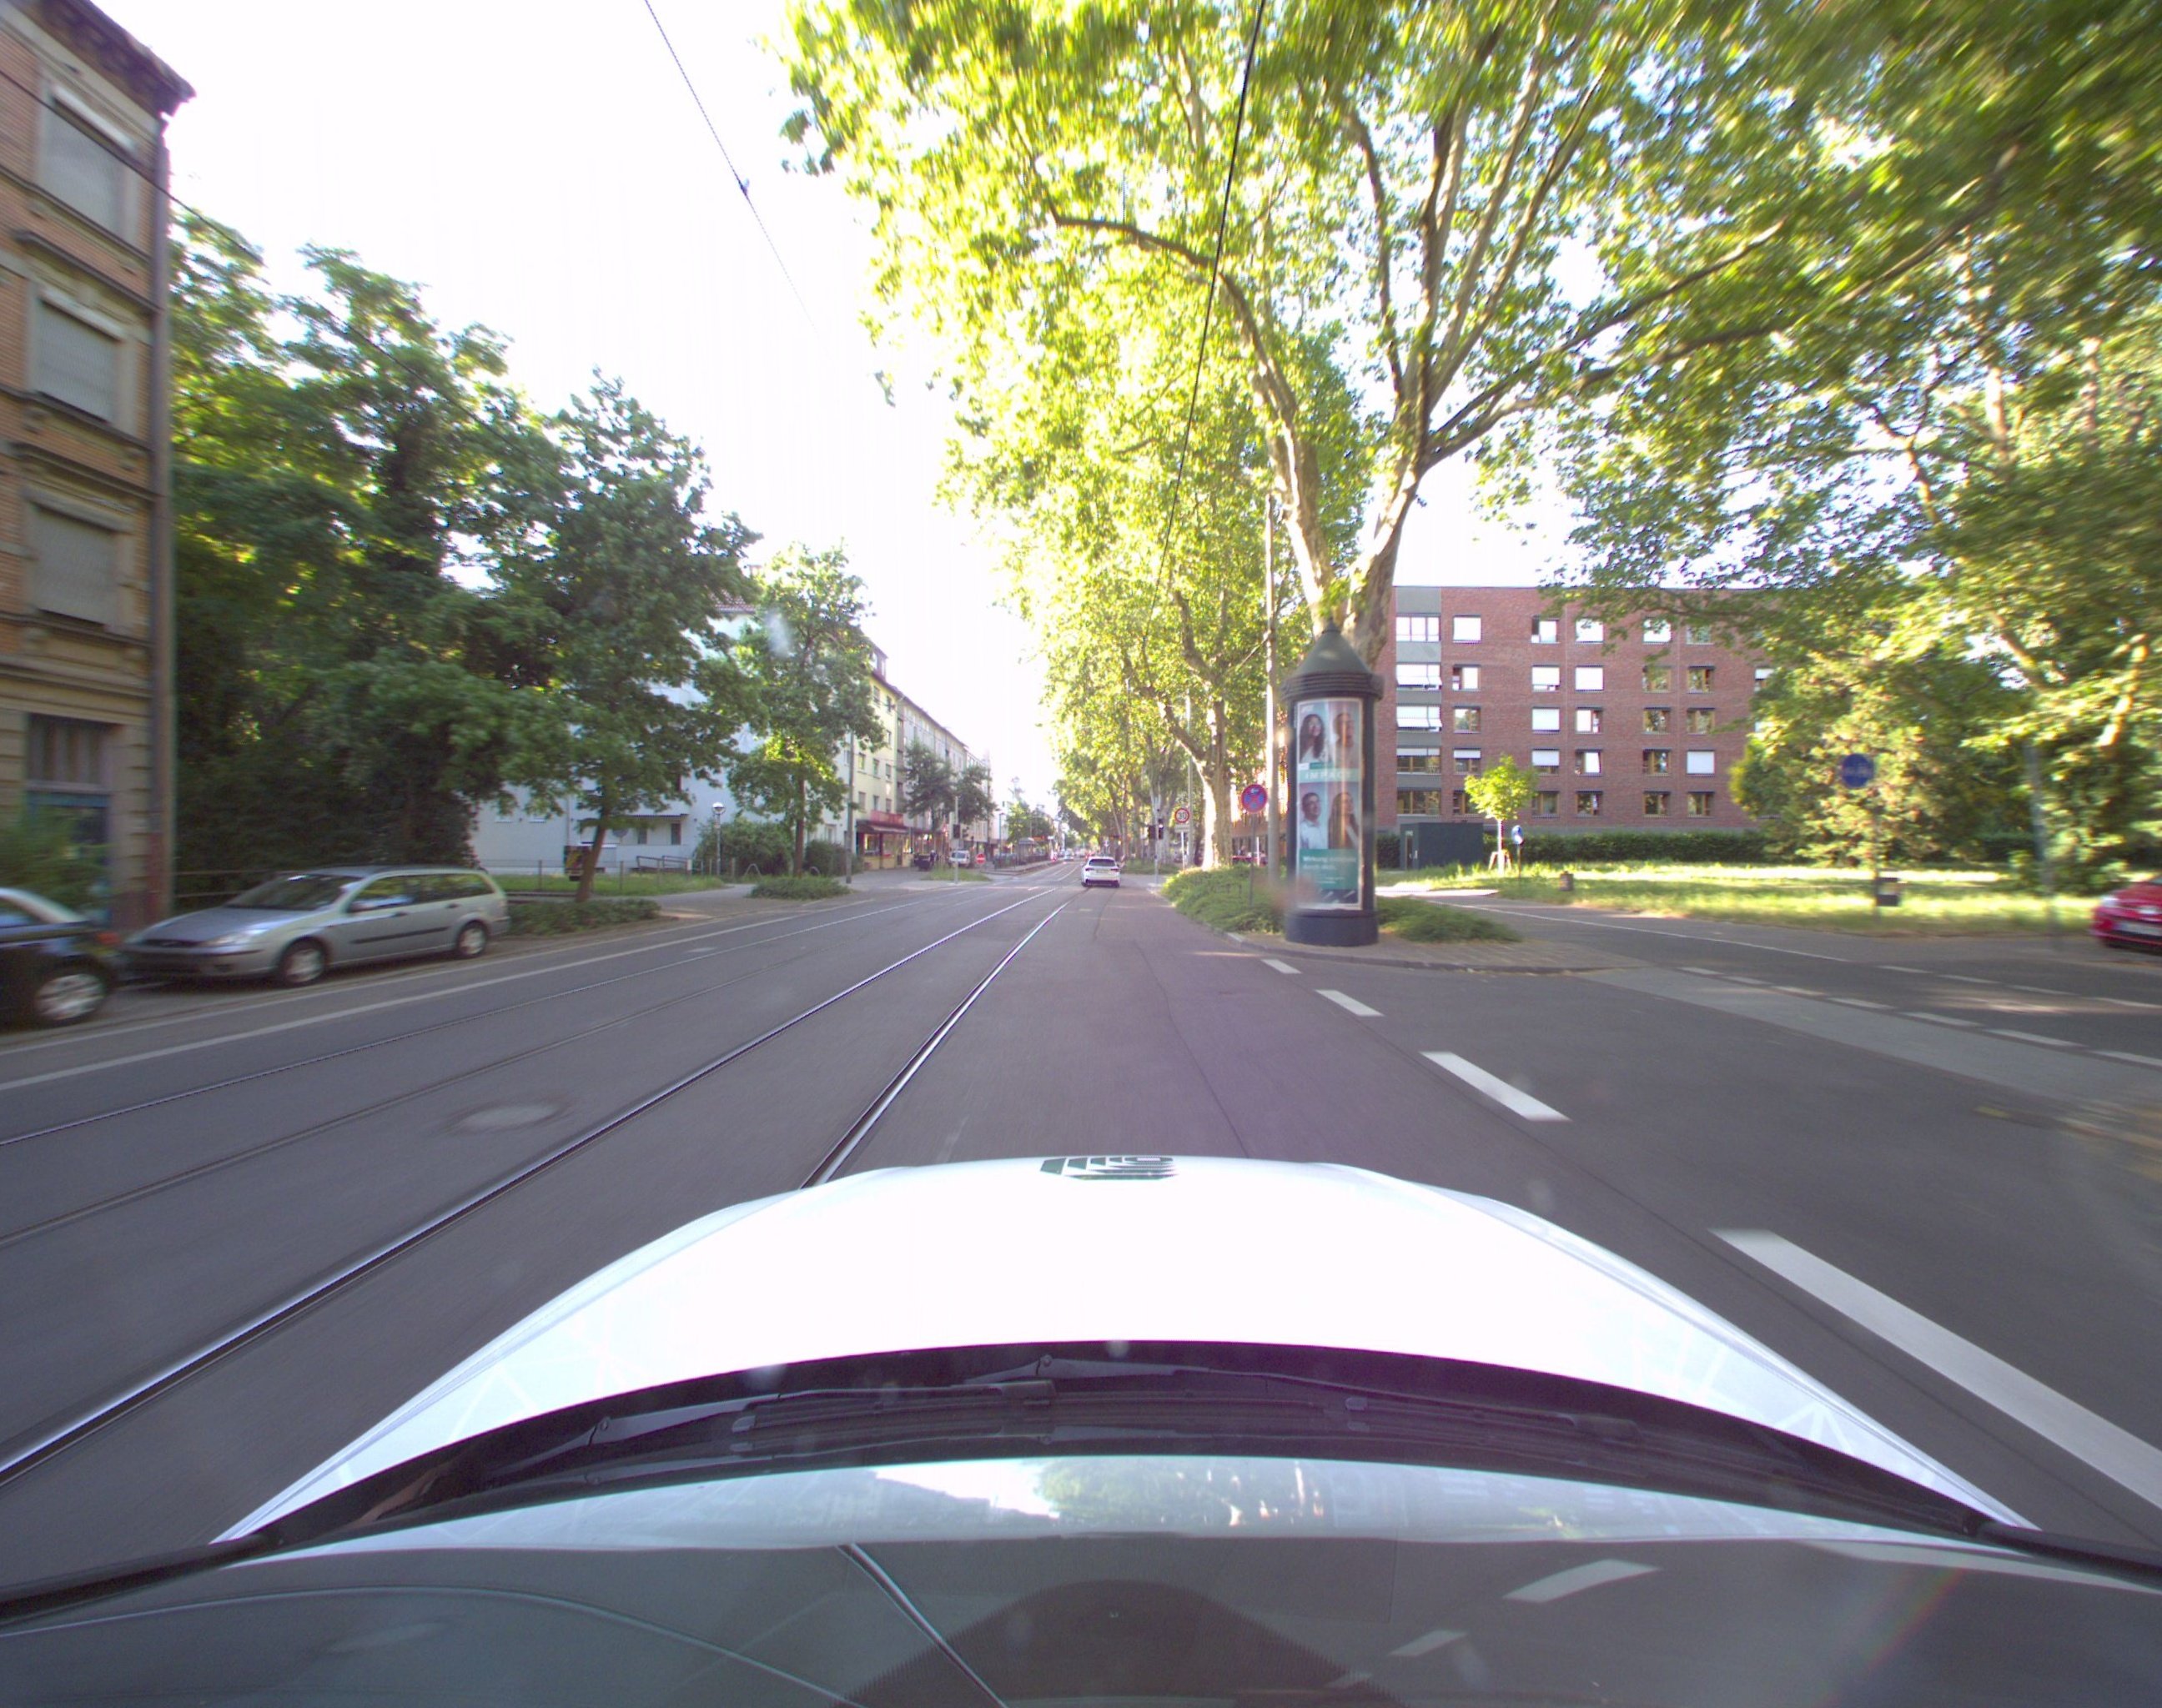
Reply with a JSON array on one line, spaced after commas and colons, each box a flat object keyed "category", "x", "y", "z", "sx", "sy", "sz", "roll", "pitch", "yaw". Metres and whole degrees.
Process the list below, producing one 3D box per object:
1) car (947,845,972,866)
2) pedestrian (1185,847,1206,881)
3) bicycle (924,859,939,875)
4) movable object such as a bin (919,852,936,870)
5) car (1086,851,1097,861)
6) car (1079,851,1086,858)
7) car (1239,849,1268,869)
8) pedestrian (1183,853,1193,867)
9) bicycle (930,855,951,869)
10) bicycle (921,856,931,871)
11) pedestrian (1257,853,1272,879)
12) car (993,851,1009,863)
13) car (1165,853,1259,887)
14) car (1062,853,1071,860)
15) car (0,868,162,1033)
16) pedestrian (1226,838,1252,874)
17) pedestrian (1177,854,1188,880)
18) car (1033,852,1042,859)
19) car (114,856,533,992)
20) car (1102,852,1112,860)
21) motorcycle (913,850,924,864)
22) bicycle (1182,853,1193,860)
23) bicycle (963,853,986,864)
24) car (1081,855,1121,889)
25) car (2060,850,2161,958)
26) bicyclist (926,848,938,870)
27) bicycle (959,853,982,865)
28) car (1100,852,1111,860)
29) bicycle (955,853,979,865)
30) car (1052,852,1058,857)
[{"category": "car", "x": -11.451, "y": 0.138, "z": 76.896, "sx": 1.682, "sy": 1.940, "sz": 4.000, "roll": 0, "pitch": 0, "yaw": 0}, {"category": "pedestrian", "x": 6.276, "y": 0.550, "z": 44.609, "sx": 0.993, "sy": 1.811, "sz": 0.863, "roll": 0, "pitch": 0, "yaw": -5}, {"category": "bicycle", "x": -9.955, "y": 0.857, "z": 54.358, "sx": 0.639, "sy": 0.987, "sz": 2.101, "roll": -1, "pitch": 0, "yaw": 0}, {"category": "movable object such as a bin", "x": -12.004, "y": 0.530, "z": 63.609, "sx": 1.167, "sy": 1.348, "sz": 0.782, "roll": 4, "pitch": 0, "yaw": -4}, {"category": "car", "x": 1.811, "y": 0.328, "z": 135.525, "sx": 1.782, "sy": 1.513, "sz": 4.000, "roll": 0, "pitch": 0, "yaw": 0}, {"category": "car", "x": 0.401, "y": 0.095, "z": 236.807, "sx": 1.860, "sy": 1.892, "sz": 4.000, "roll": 0, "pitch": 0, "yaw": 0}, {"category": "car", "x": 13.785, "y": 0.380, "z": 65.145, "sx": 1.595, "sy": 1.495, "sz": 3.416, "roll": 0, "pitch": 0, "yaw": -1}, {"category": "pedestrian", "x": 11.801, "y": 0.650, "z": 89.799, "sx": 0.969, "sy": 1.623, "sz": 0.887, "roll": 0, "pitch": 0, "yaw": 0}, {"category": "bicycle", "x": -11.331, "y": 0.655, "z": 65.681, "sx": 1.529, "sy": 1.075, "sz": 0.885, "roll": 3, "pitch": 0, "yaw": -1}, {"category": "bicycle", "x": -12.366, "y": 0.748, "z": 65.009, "sx": 0.497, "sy": 1.107, "sz": 1.799, "roll": 4, "pitch": 0, "yaw": -2}, {"category": "pedestrian", "x": 11.957, "y": 0.774, "z": 53.100, "sx": 0.733, "sy": 1.669, "sz": 0.834, "roll": 0, "pitch": 0, "yaw": 0}, {"category": "car", "x": -10.814, "y": 0.355, "z": 110.092, "sx": 1.588, "sy": 1.548, "sz": 4.000, "roll": 2, "pitch": 0, "yaw": 0}, {"category": "car", "x": 5.630, "y": 0.684, "z": 35.352, "sx": 3.868, "sy": 1.423, "sz": 1.650, "roll": 0, "pitch": 0, "yaw": 3}, {"category": "car", "x": -2.775, "y": 0.520, "z": 160.269, "sx": 1.688, "sy": 1.419, "sz": 4.000, "roll": 0, "pitch": 0, "yaw": 0}, {"category": "car", "x": -10.601, "y": 0.890, "z": 6.661, "sx": 1.653, "sy": 1.445, "sz": 3.949, "roll": 1, "pitch": 0, "yaw": 0}, {"category": "pedestrian", "x": 8.352, "y": 0.106, "z": 43.124, "sx": 0.981, "sy": 1.863, "sz": 1.014, "roll": -4, "pitch": 0, "yaw": -5}, {"category": "pedestrian", "x": 6.658, "y": 0.830, "z": 53.431, "sx": 0.650, "sy": 1.669, "sz": 0.738, "roll": 0, "pitch": 0, "yaw": 0}, {"category": "car", "x": -9.364, "y": 0.276, "z": 175.647, "sx": 1.672, "sy": 1.548, "sz": 4.000, "roll": 2, "pitch": 0, "yaw": 0}, {"category": "car", "x": -10.530, "y": 0.831, "z": 11.940, "sx": 1.692, "sy": 1.550, "sz": 4.540, "roll": 1, "pitch": 0, "yaw": 4}, {"category": "car", "x": 5.012, "y": 0.366, "z": 158.028, "sx": 1.987, "sy": 1.453, "sz": 4.000, "roll": 0, "pitch": 0, "yaw": 0}, {"category": "motorcycle", "x": -15.092, "y": 0.282, "z": 75.779, "sx": 0.597, "sy": 1.311, "sz": 2.222, "roll": 0, "pitch": 0, "yaw": 0}, {"category": "bicycle", "x": 15.023, "y": 0.387, "z": 115.049, "sx": 1.552, "sy": 1.037, "sz": 0.482, "roll": 0, "pitch": 0, "yaw": 21}, {"category": "bicycle", "x": -11.518, "y": 0.465, "z": 88.173, "sx": 2.244, "sy": 1.074, "sz": 0.636, "roll": 3, "pitch": 0, "yaw": 1}, {"category": "car", "x": 0.925, "y": 0.800, "z": 38.998, "sx": 1.782, "sy": 1.513, "sz": 4.000, "roll": 0, "pitch": 0, "yaw": 0}, {"category": "car", "x": 16.462, "y": 0.672, "z": 11.432, "sx": 3.528, "sy": 1.452, "sz": 1.683, "roll": 0, "pitch": 0, "yaw": -2}, {"category": "bicyclist", "x": -9.971, "y": 0.331, "z": 54.367, "sx": 0.639, "sy": 1.455, "sz": 0.837, "roll": -1, "pitch": 0, "yaw": 0}, {"category": "bicycle", "x": -11.494, "y": 0.491, "z": 84.476, "sx": 2.244, "sy": 1.074, "sz": 0.636, "roll": 3, "pitch": 0, "yaw": 1}, {"category": "car", "x": 4.885, "y": 0.359, "z": 163.115, "sx": 1.987, "sy": 1.453, "sz": 4.000, "roll": 0, "pitch": 0, "yaw": 0}, {"category": "bicycle", "x": -11.558, "y": 0.480, "z": 82.828, "sx": 2.244, "sy": 1.074, "sz": 0.636, "roll": 3, "pitch": 0, "yaw": 1}, {"category": "car", "x": -8.028, "y": 0.008, "z": 250.624, "sx": 1.782, "sy": 1.513, "sz": 4.000, "roll": 0, "pitch": 0, "yaw": 0}]
